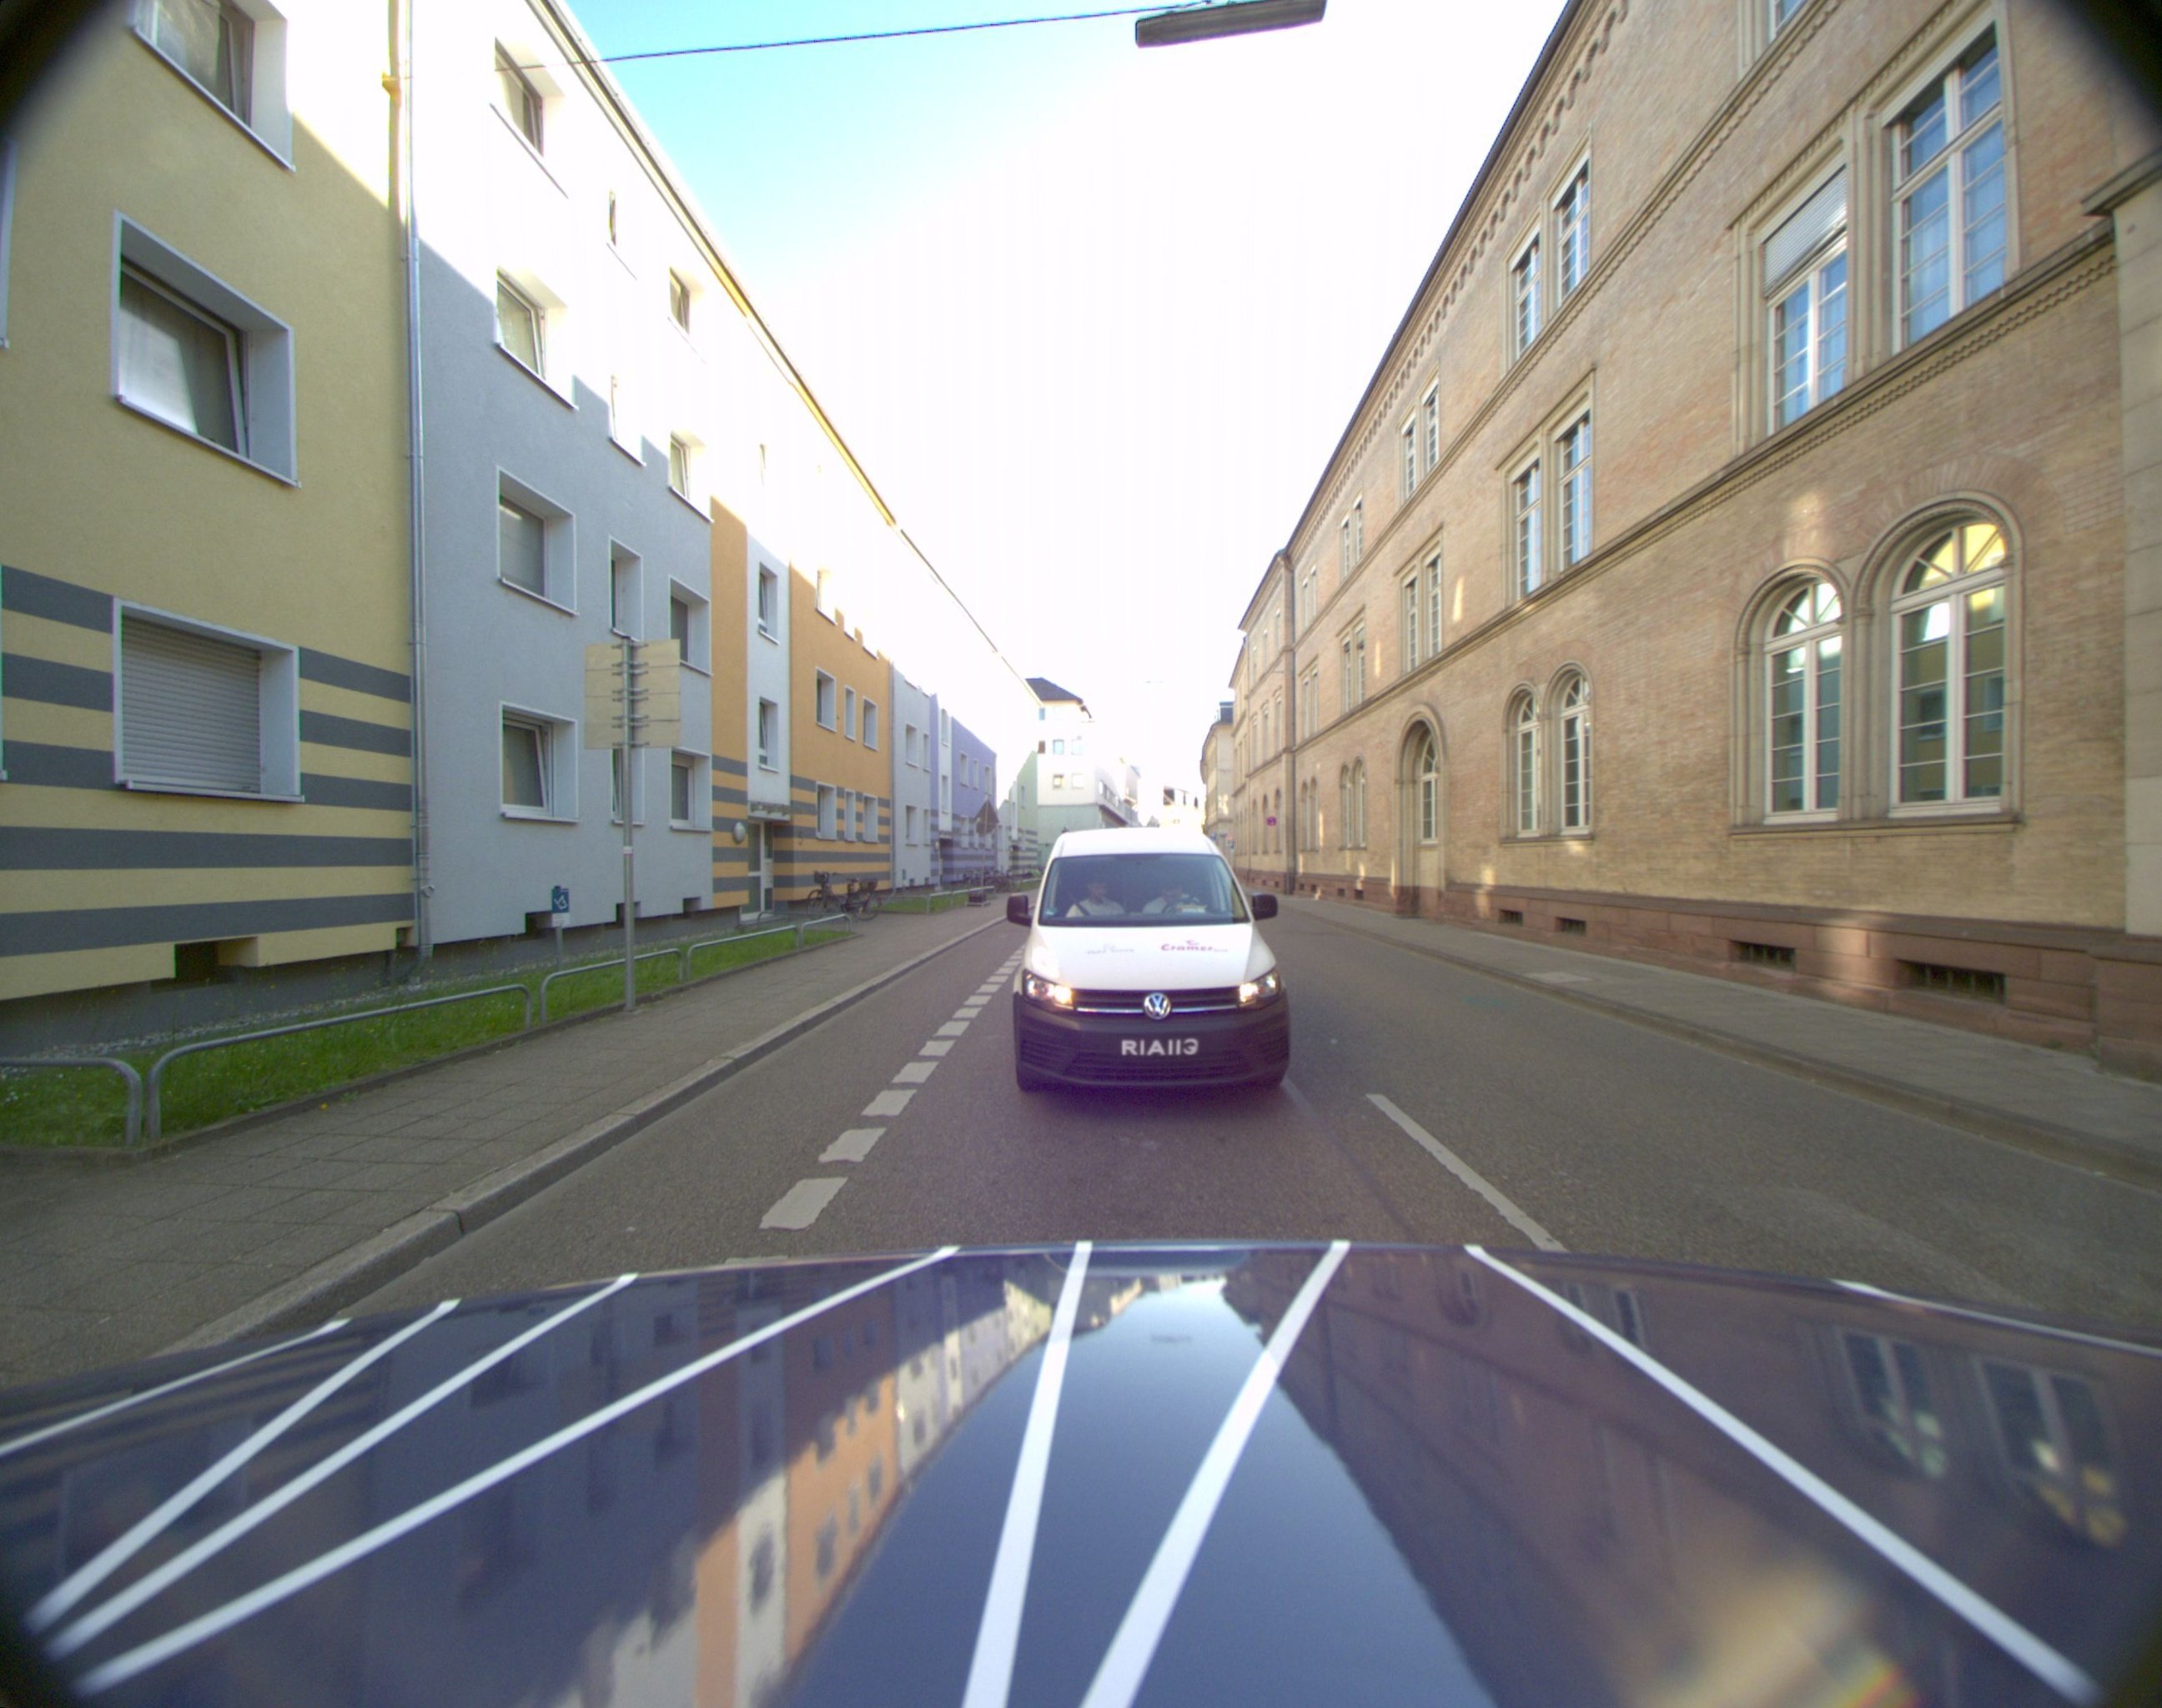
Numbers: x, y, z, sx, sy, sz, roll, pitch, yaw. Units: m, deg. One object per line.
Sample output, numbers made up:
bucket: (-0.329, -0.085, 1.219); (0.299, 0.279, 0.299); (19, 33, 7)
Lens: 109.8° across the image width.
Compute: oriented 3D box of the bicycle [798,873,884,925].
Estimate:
bicycle: (-5.381, 1.010, 17.117); (1.780, 1.116, 0.484); (0, 0, -5)

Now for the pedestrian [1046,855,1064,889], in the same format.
pedestrian: (-1.271, 0.869, 37.226); (0.705, 1.627, 0.833); (2, 2, 5)

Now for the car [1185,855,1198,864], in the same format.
car: (22.117, 1.084, 152.034); (1.996, 1.643, 4.233); (-2, 1, 17)

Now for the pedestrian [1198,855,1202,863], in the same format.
pedestrian: (23.182, 0.953, 148.225); (0.704, 1.627, 0.833); (3, 2, 14)

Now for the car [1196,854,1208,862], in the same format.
car: (26.100, 0.801, 163.765); (1.996, 1.643, 4.233); (-2, 1, 17)

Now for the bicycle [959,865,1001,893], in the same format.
bicycle: (-4.231, 1.043, 31.853); (1.676, 1.145, 0.484); (0, 0, 4)

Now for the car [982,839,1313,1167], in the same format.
car: (0.398, 0.778, 6.763); (1.769, 1.761, 5.331); (-1, 1, 1)

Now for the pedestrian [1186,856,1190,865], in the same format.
pedestrian: (18.931, 1.184, 134.498); (0.705, 1.627, 0.833); (3, 2, 12)

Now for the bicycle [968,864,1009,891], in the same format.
bicycle: (-4.027, 1.016, 33.147); (1.676, 1.145, 0.484); (0, 0, 4)

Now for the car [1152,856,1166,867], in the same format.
car: (12.654, 1.190, 122.712); (1.997, 1.643, 4.231); (-2, 1, 9)

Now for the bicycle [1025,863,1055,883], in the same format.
bicycle: (-2.511, 1.149, 46.064); (1.779, 1.145, 0.484); (0, 0, 0)

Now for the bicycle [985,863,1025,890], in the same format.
bicycle: (-3.368, 0.999, 33.693); (1.676, 1.145, 0.484); (0, 0, 4)
